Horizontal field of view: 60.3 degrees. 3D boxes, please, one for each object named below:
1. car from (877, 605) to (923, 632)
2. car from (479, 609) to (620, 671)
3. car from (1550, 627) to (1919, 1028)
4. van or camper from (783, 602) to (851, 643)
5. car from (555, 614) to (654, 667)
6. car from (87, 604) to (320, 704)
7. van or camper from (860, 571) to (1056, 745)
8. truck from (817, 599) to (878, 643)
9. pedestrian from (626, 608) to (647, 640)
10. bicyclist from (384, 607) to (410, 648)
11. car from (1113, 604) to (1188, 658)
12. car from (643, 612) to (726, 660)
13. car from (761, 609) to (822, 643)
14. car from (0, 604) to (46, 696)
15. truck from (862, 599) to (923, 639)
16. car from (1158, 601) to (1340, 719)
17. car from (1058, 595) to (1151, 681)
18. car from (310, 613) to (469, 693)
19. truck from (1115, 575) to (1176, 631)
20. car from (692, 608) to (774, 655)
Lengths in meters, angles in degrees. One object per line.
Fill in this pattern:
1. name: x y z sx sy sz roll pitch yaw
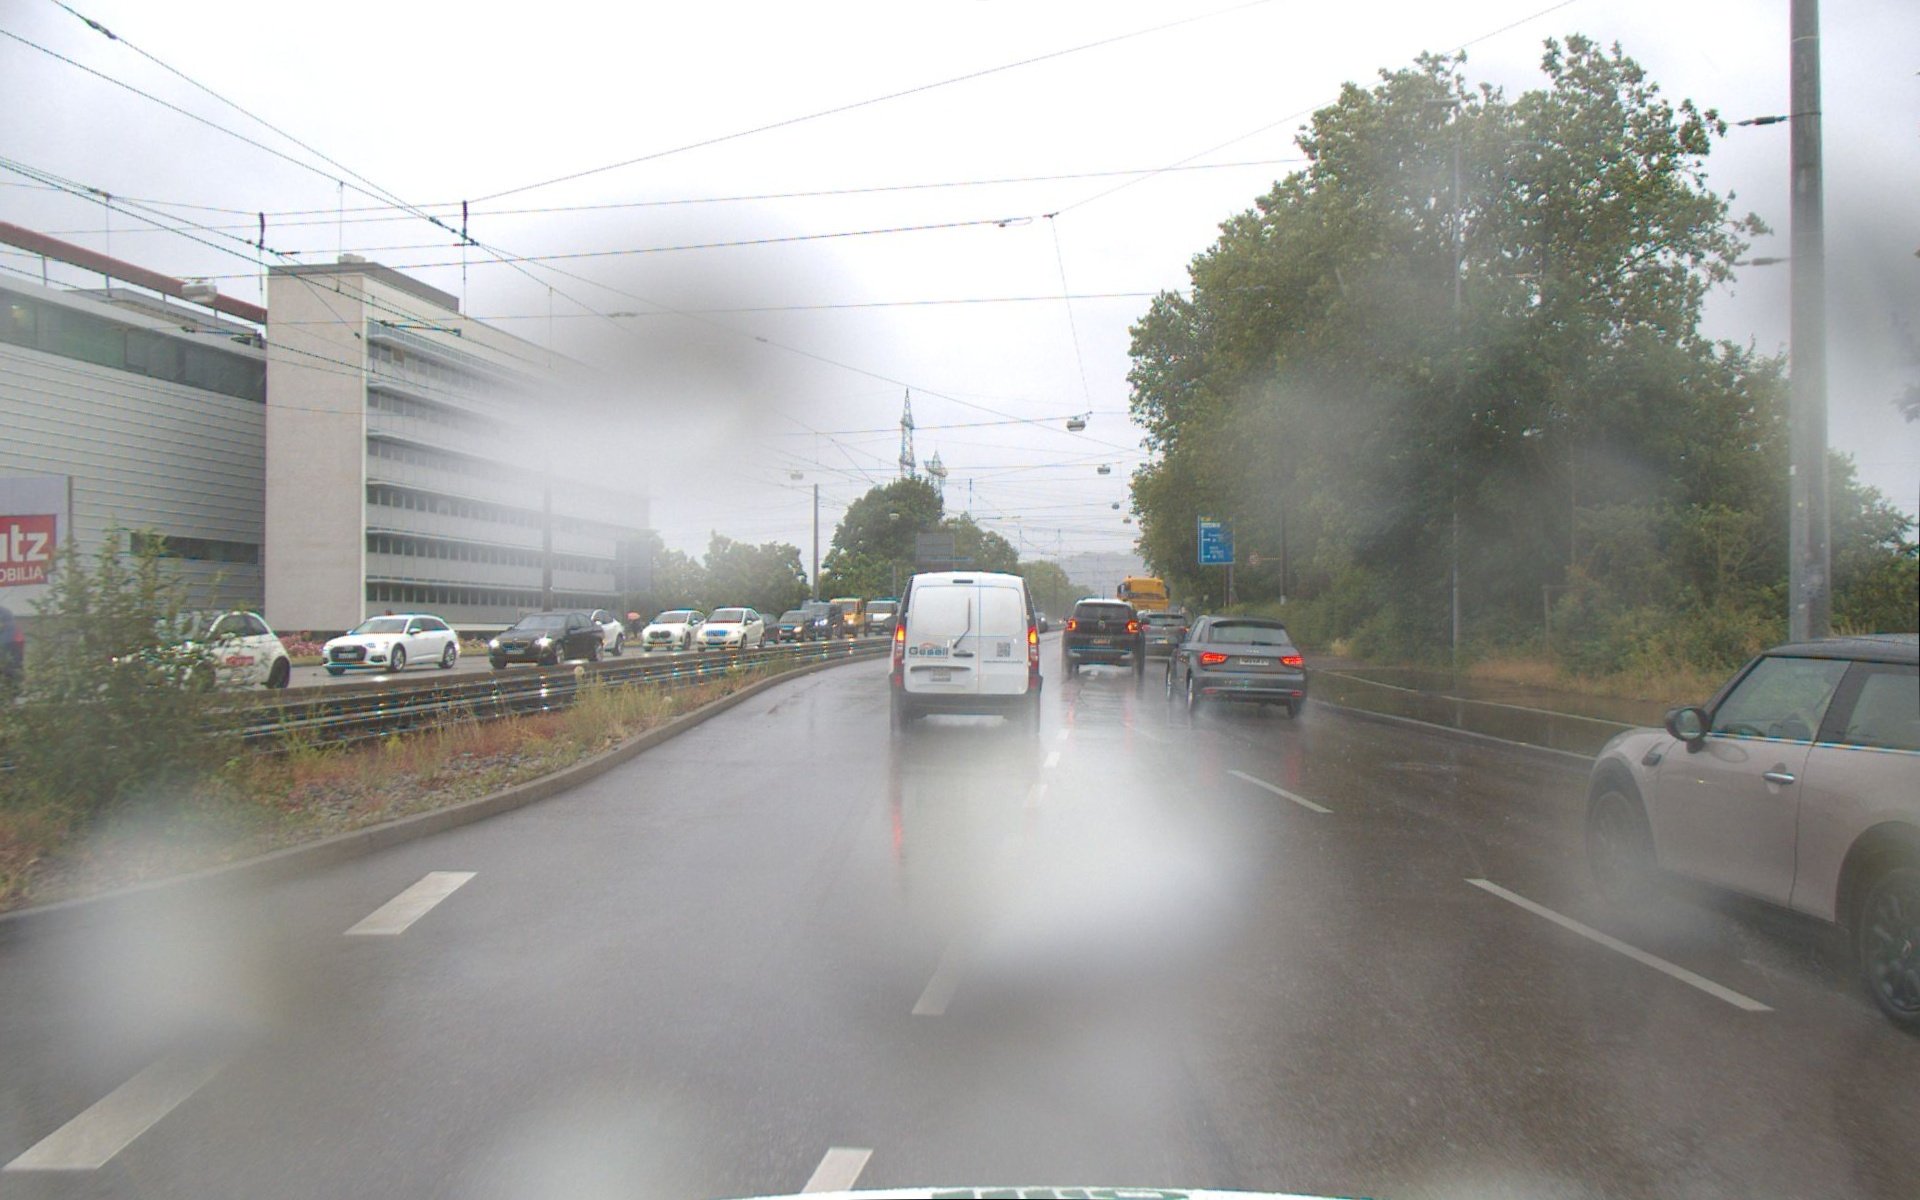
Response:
1. car: -3.616 1.123 99.798 1.951 1.482 4.675 -2 -1 8
2. car: -11.086 1.047 45.096 1.882 1.448 5.088 1 1 9
3. car: 4.263 0.854 7.324 1.755 1.439 3.851 1 -1 -3
4. van or camper: -7.728 1.207 89.814 2.256 2.049 5.690 2 0 10
5. car: -12.455 1.372 58.267 1.867 1.634 4.846 3 1 7
6. car: -13.404 0.901 29.587 1.675 1.562 4.051 1 1 12
7. van or camper: 0.092 0.593 19.757 1.951 1.816 4.003 1 1 5
8. truck: -6.759 1.269 100.097 2.180 2.505 6.071 2 0 11
9. pedestrian: -18.781 1.389 96.031 0.805 1.793 1.051 2 -1 10
10. bicyclist: -22.604 1.097 66.398 0.657 1.617 0.792 2 0 8
11. car: 5.506 0.878 48.240 1.781 1.438 3.779 1 0 1
12. car: -11.107 1.444 67.094 1.951 1.866 4.696 0 -1 9
13. car: -8.566 1.338 84.436 1.818 1.646 4.911 -1 -1 9
14. car: -14.630 0.720 22.277 1.675 1.271 4.465 1 1 8
15. truck: -4.419 1.254 109.484 2.383 2.501 7.225 2 0 11
16. car: 4.179 0.820 24.535 1.928 1.555 3.990 1 0 -1
17. car: 3.157 0.784 36.951 1.860 1.747 4.727 1 0 3
18. car: -14.924 1.362 43.609 1.951 1.935 4.794 1 -1 8
19. truck: 9.765 0.165 86.752 3.046 2.822 6.334 0 0 7
20. car: -8.482 1.142 62.042 1.833 1.601 4.332 1 1 9
